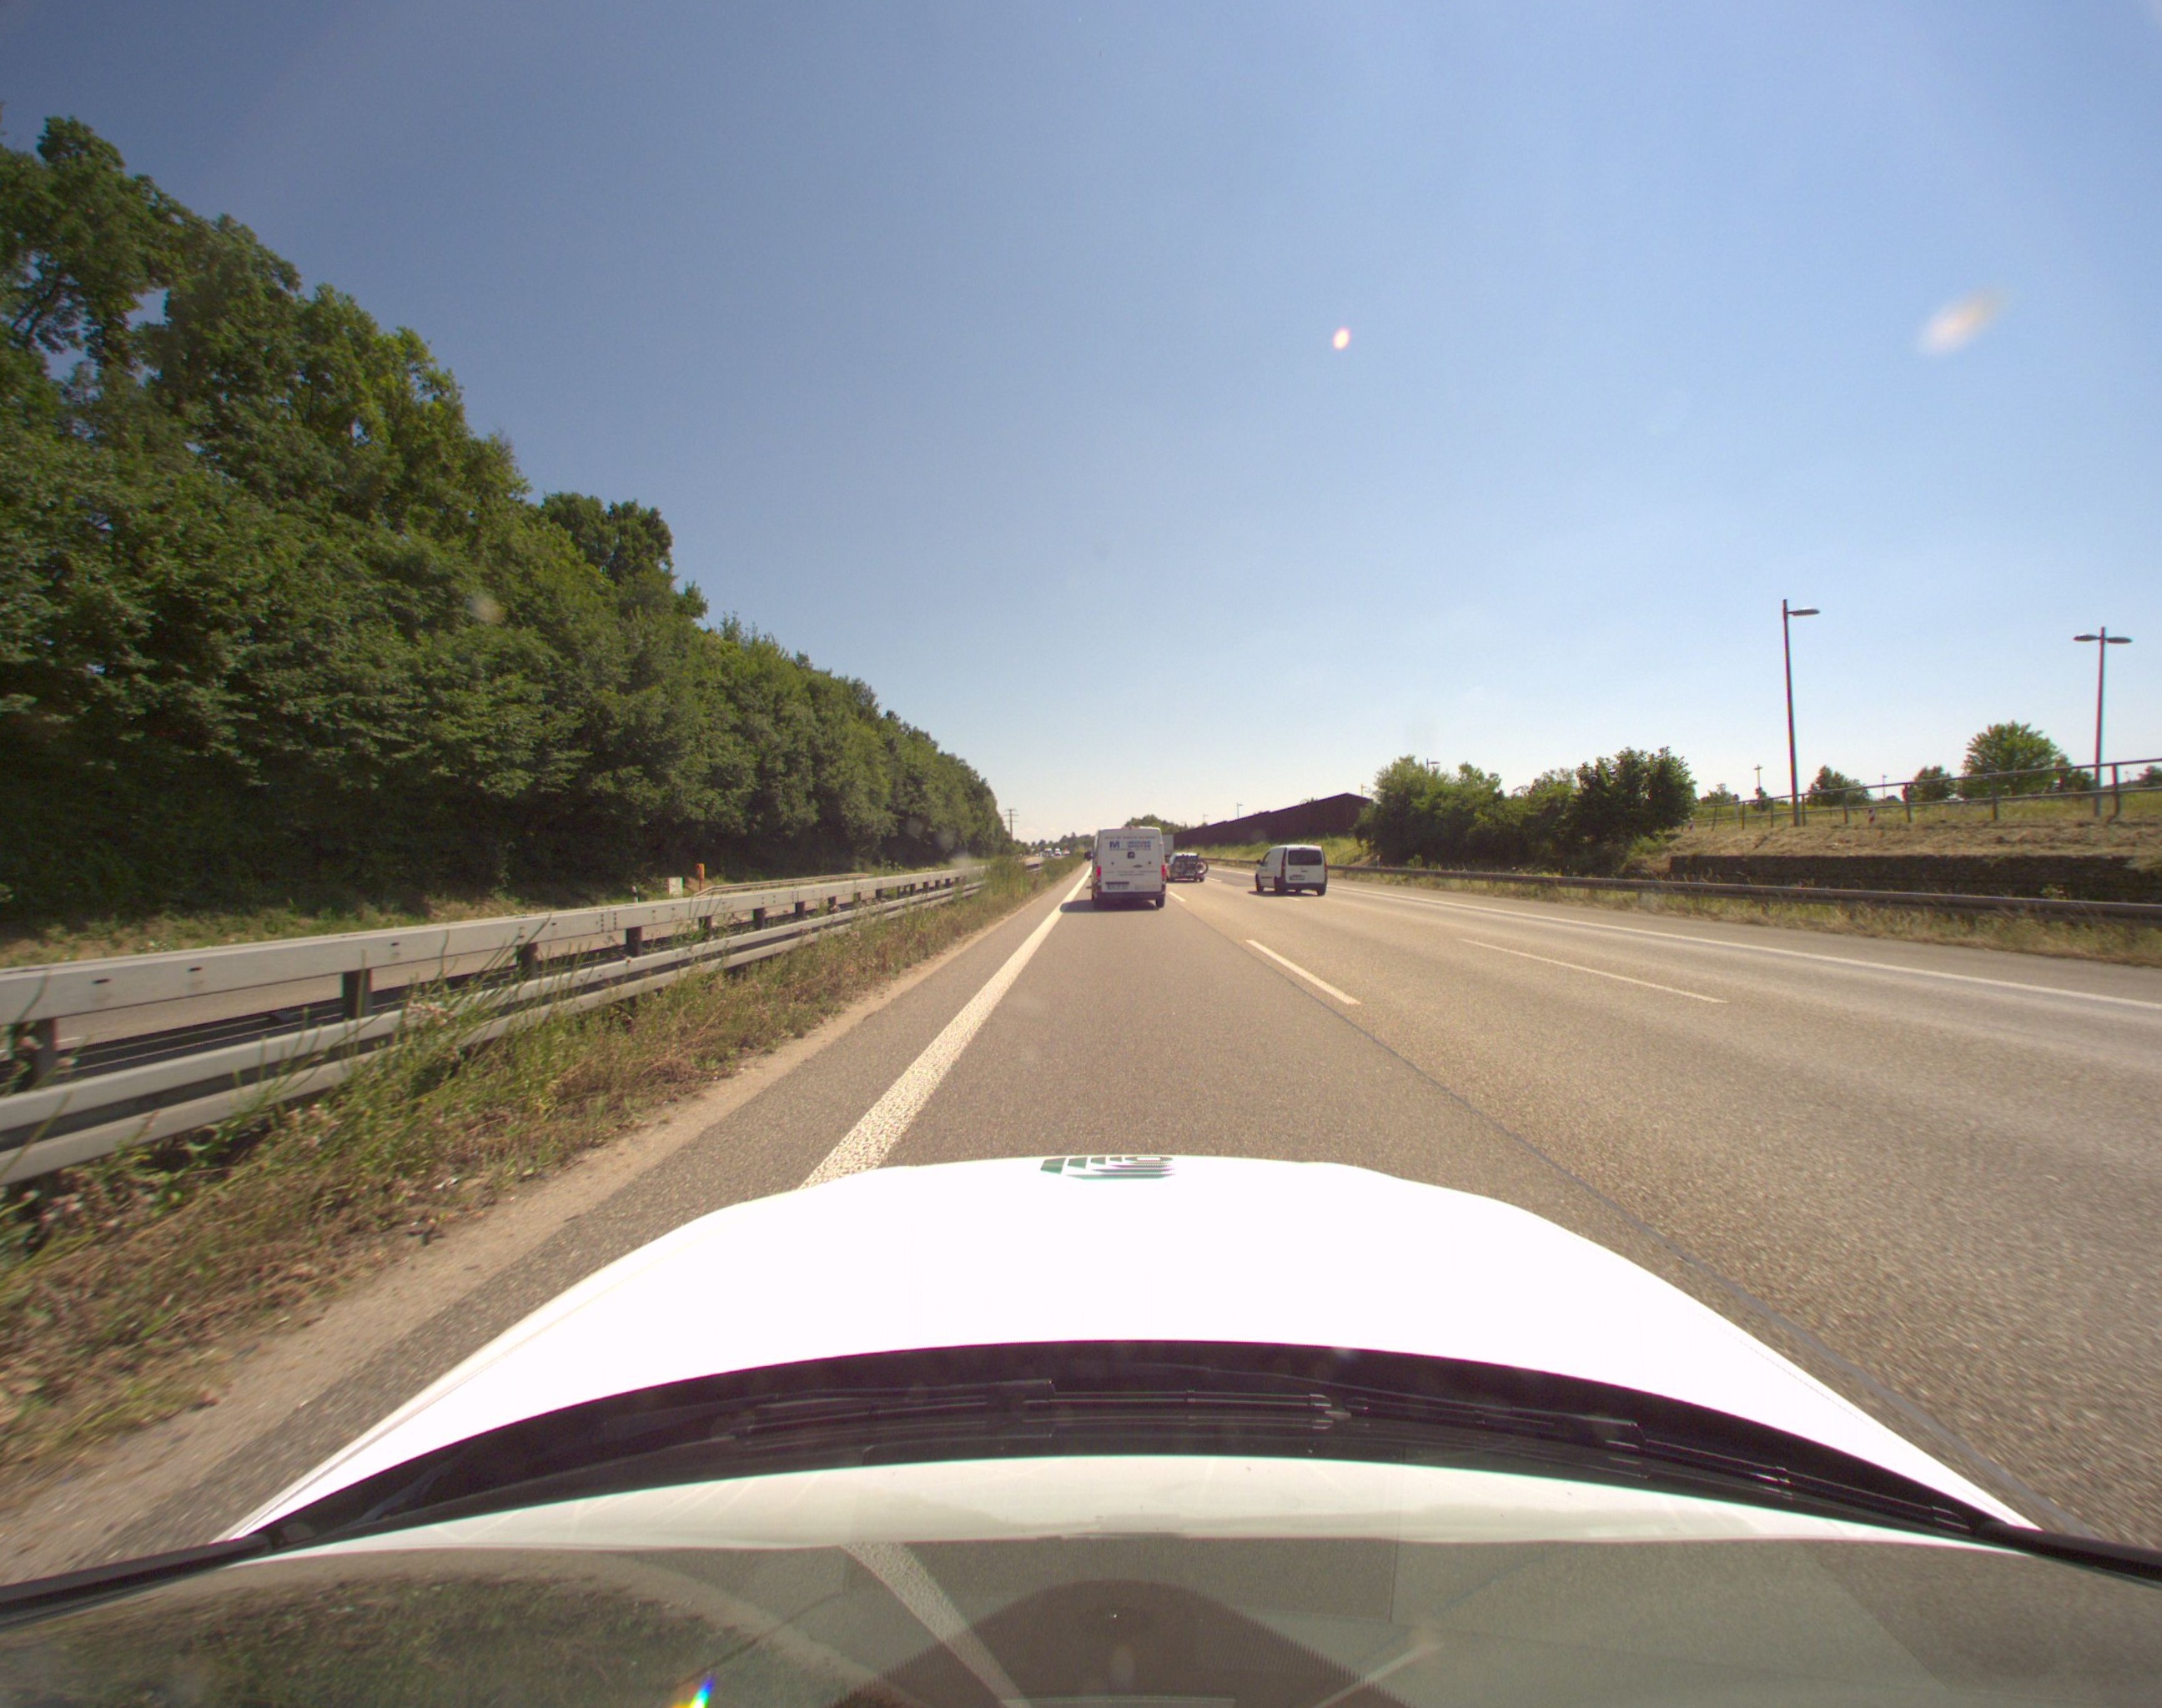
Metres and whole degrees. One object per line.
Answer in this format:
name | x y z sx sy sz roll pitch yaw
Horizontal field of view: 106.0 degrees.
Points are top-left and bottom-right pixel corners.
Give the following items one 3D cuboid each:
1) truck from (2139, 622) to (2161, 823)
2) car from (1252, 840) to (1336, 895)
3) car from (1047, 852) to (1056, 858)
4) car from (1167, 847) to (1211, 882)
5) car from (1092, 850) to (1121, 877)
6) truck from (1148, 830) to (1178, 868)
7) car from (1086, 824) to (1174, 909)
truck | 21.923 -2.538 13.874 2.592 3.827 4.001 0 -1 2
car | 7.785 0.485 30.190 1.944 1.838 4.177 -2 -1 -1
car | -7.947 0.376 220.057 1.986 1.519 4.723 -3 0 1
car | 5.640 0.548 43.104 1.967 1.733 4.092 -2 -1 3
car | 1.720 0.614 54.587 1.737 1.701 4.092 -2 -1 4
truck | 11.487 -0.608 115.285 3.772 5.000 12.529 0 -1 4
car | 1.323 0.359 24.430 2.176 2.254 5.359 0 -1 -2
